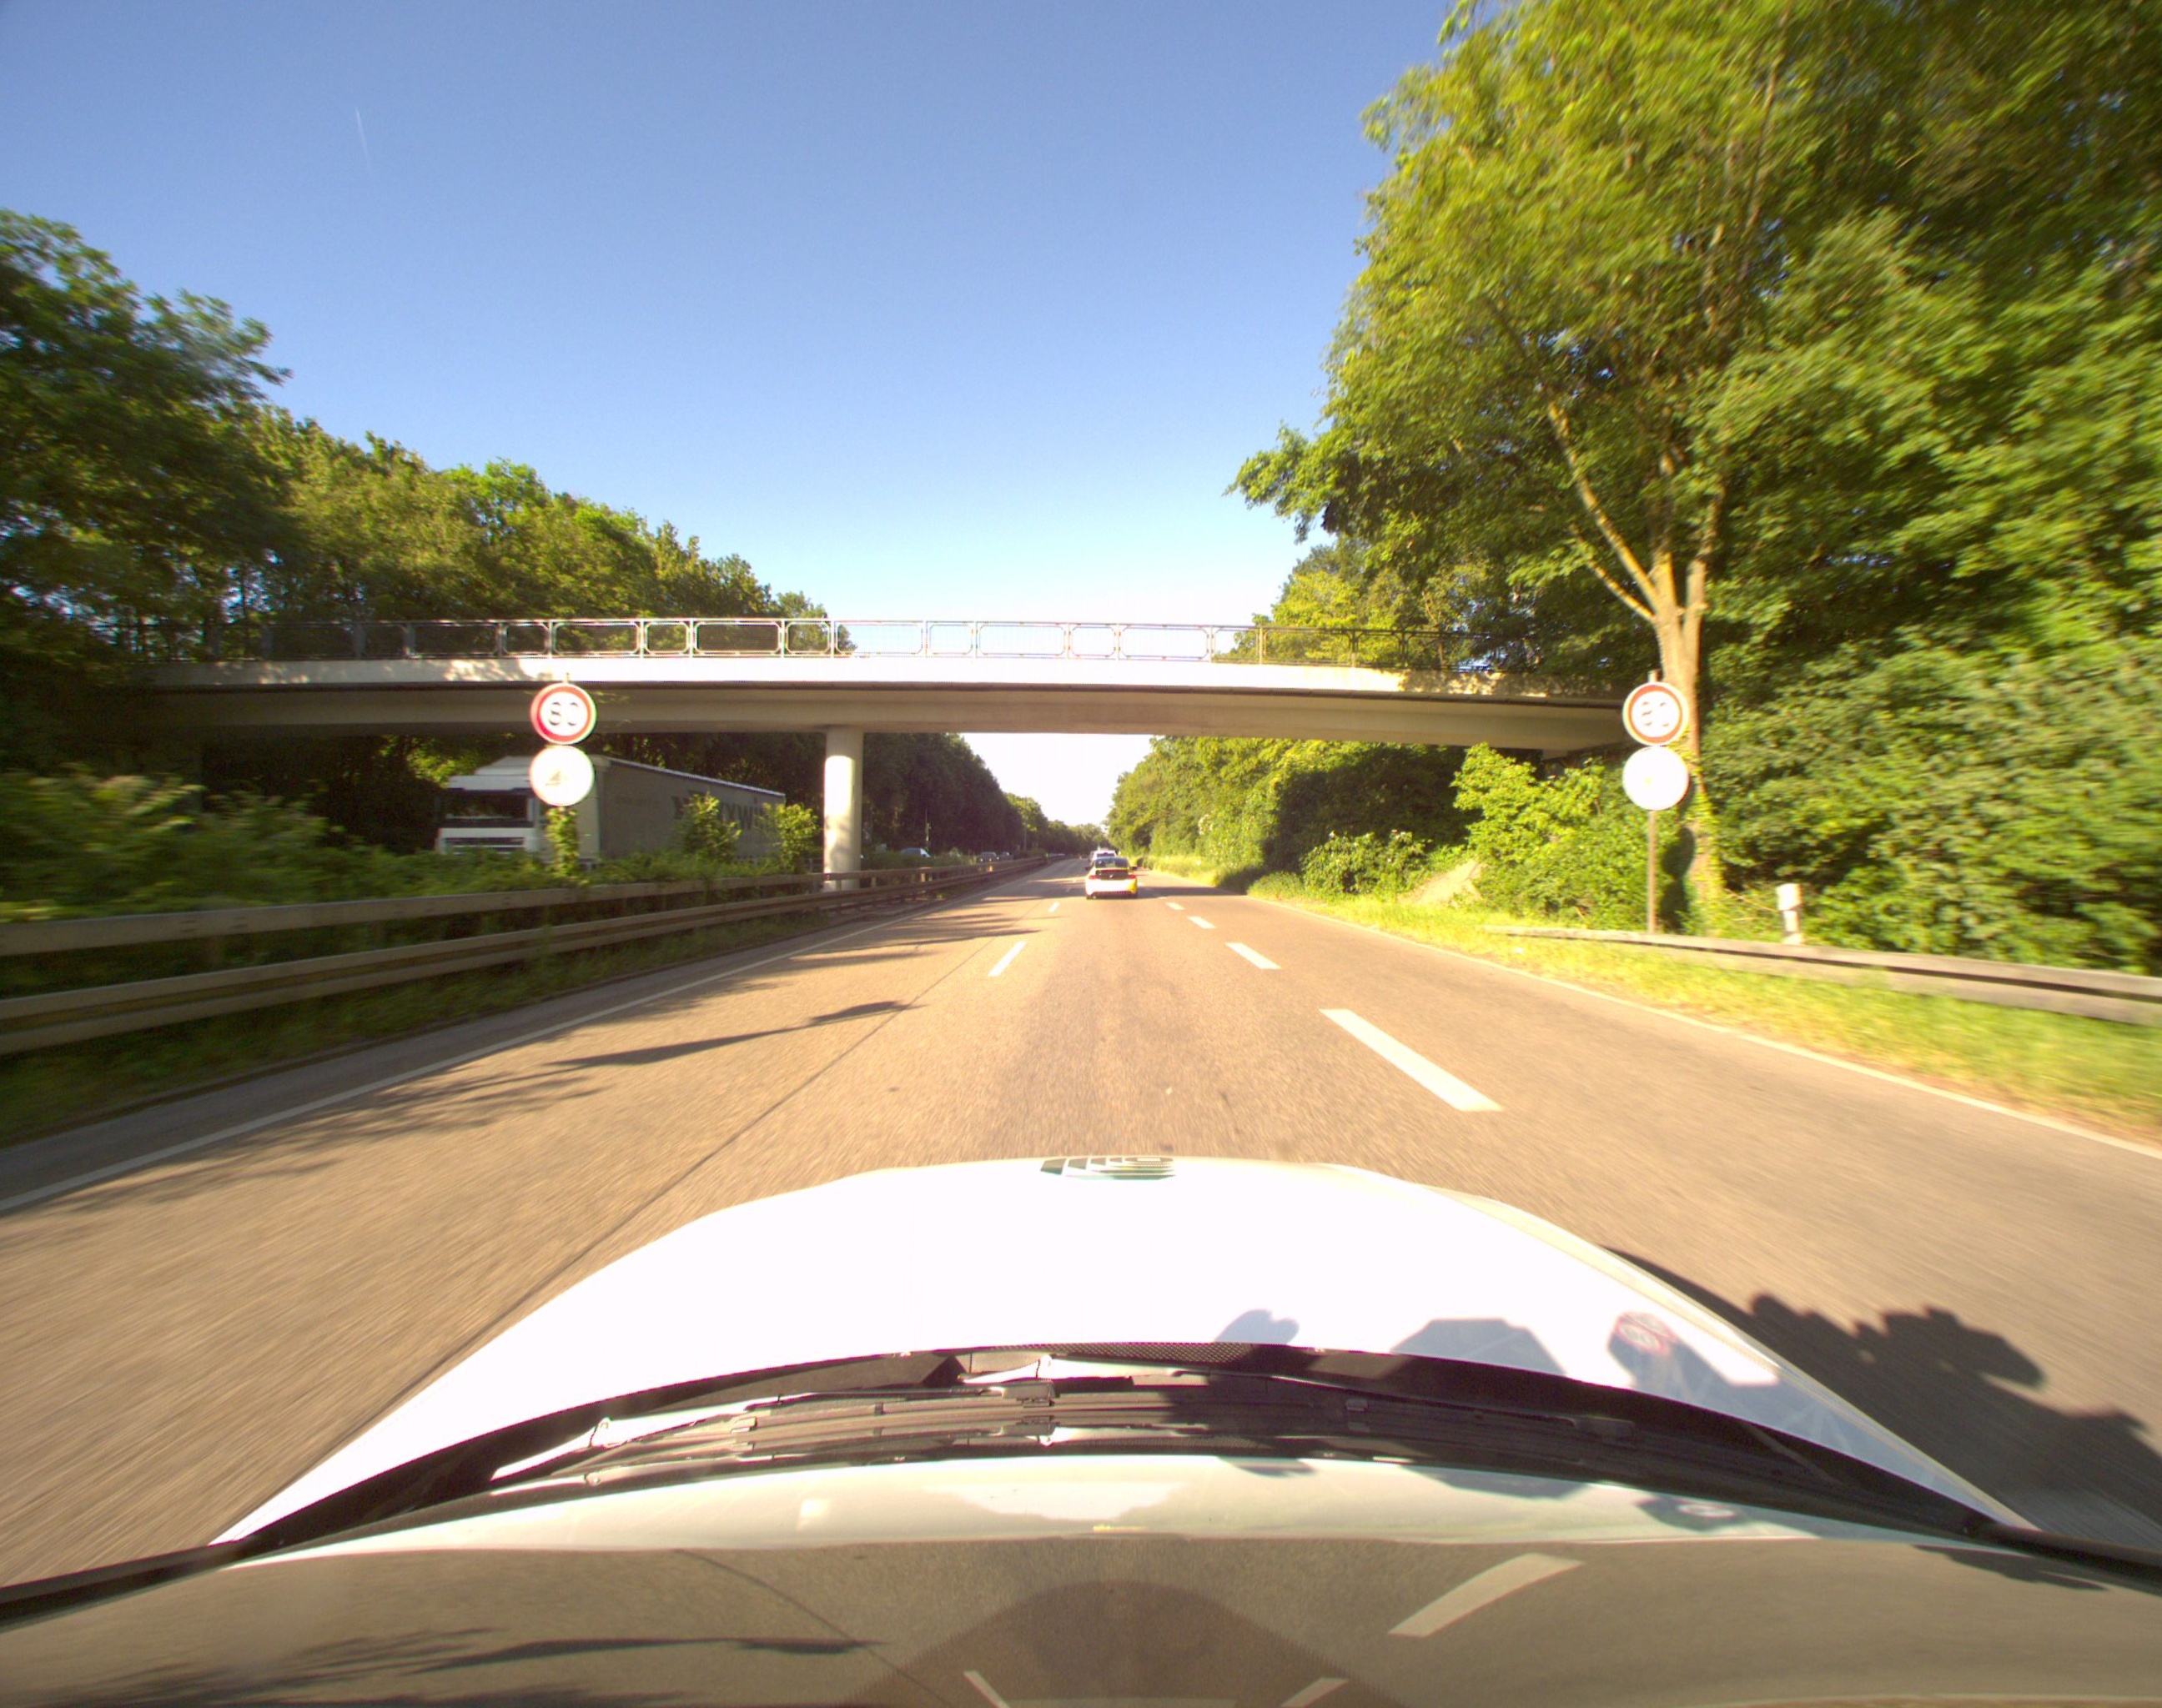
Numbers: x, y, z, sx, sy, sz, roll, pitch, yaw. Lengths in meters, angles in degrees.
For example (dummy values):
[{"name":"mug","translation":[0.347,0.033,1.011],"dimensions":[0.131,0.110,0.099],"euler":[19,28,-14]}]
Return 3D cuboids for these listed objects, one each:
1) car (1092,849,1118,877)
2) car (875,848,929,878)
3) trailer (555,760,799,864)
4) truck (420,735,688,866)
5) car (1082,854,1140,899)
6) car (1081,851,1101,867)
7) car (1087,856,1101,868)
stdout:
[{"name":"car","translation":[1.653,0.612,56.955],"dimensions":[1.735,1.830,3.423],"euler":[-1,0,1]},{"name":"car","translation":[-10.258,0.490,47.113],"dimensions":[1.986,1.687,4.741],"euler":[0,0,1]},{"name":"trailer","translation":[-14.351,-1.229,30.731],"dimensions":[2.918,3.168,11.920],"euler":[0,0,2]},{"name":"truck","translation":[-14.600,-1.284,23.444],"dimensions":[2.919,3.168,7.086],"euler":[0,-1,2]},{"name":"car","translation":[1.140,0.761,29.095],"dimensions":[1.930,1.508,3.426],"euler":[0,0,4]},{"name":"car","translation":[0.992,0.526,81.446],"dimensions":[1.933,1.545,3.422],"euler":[0,-1,0]},{"name":"car","translation":[1.959,1.235,123.480],"dimensions":[1.988,1.750,4.371],"euler":[0,0,-1]}]
